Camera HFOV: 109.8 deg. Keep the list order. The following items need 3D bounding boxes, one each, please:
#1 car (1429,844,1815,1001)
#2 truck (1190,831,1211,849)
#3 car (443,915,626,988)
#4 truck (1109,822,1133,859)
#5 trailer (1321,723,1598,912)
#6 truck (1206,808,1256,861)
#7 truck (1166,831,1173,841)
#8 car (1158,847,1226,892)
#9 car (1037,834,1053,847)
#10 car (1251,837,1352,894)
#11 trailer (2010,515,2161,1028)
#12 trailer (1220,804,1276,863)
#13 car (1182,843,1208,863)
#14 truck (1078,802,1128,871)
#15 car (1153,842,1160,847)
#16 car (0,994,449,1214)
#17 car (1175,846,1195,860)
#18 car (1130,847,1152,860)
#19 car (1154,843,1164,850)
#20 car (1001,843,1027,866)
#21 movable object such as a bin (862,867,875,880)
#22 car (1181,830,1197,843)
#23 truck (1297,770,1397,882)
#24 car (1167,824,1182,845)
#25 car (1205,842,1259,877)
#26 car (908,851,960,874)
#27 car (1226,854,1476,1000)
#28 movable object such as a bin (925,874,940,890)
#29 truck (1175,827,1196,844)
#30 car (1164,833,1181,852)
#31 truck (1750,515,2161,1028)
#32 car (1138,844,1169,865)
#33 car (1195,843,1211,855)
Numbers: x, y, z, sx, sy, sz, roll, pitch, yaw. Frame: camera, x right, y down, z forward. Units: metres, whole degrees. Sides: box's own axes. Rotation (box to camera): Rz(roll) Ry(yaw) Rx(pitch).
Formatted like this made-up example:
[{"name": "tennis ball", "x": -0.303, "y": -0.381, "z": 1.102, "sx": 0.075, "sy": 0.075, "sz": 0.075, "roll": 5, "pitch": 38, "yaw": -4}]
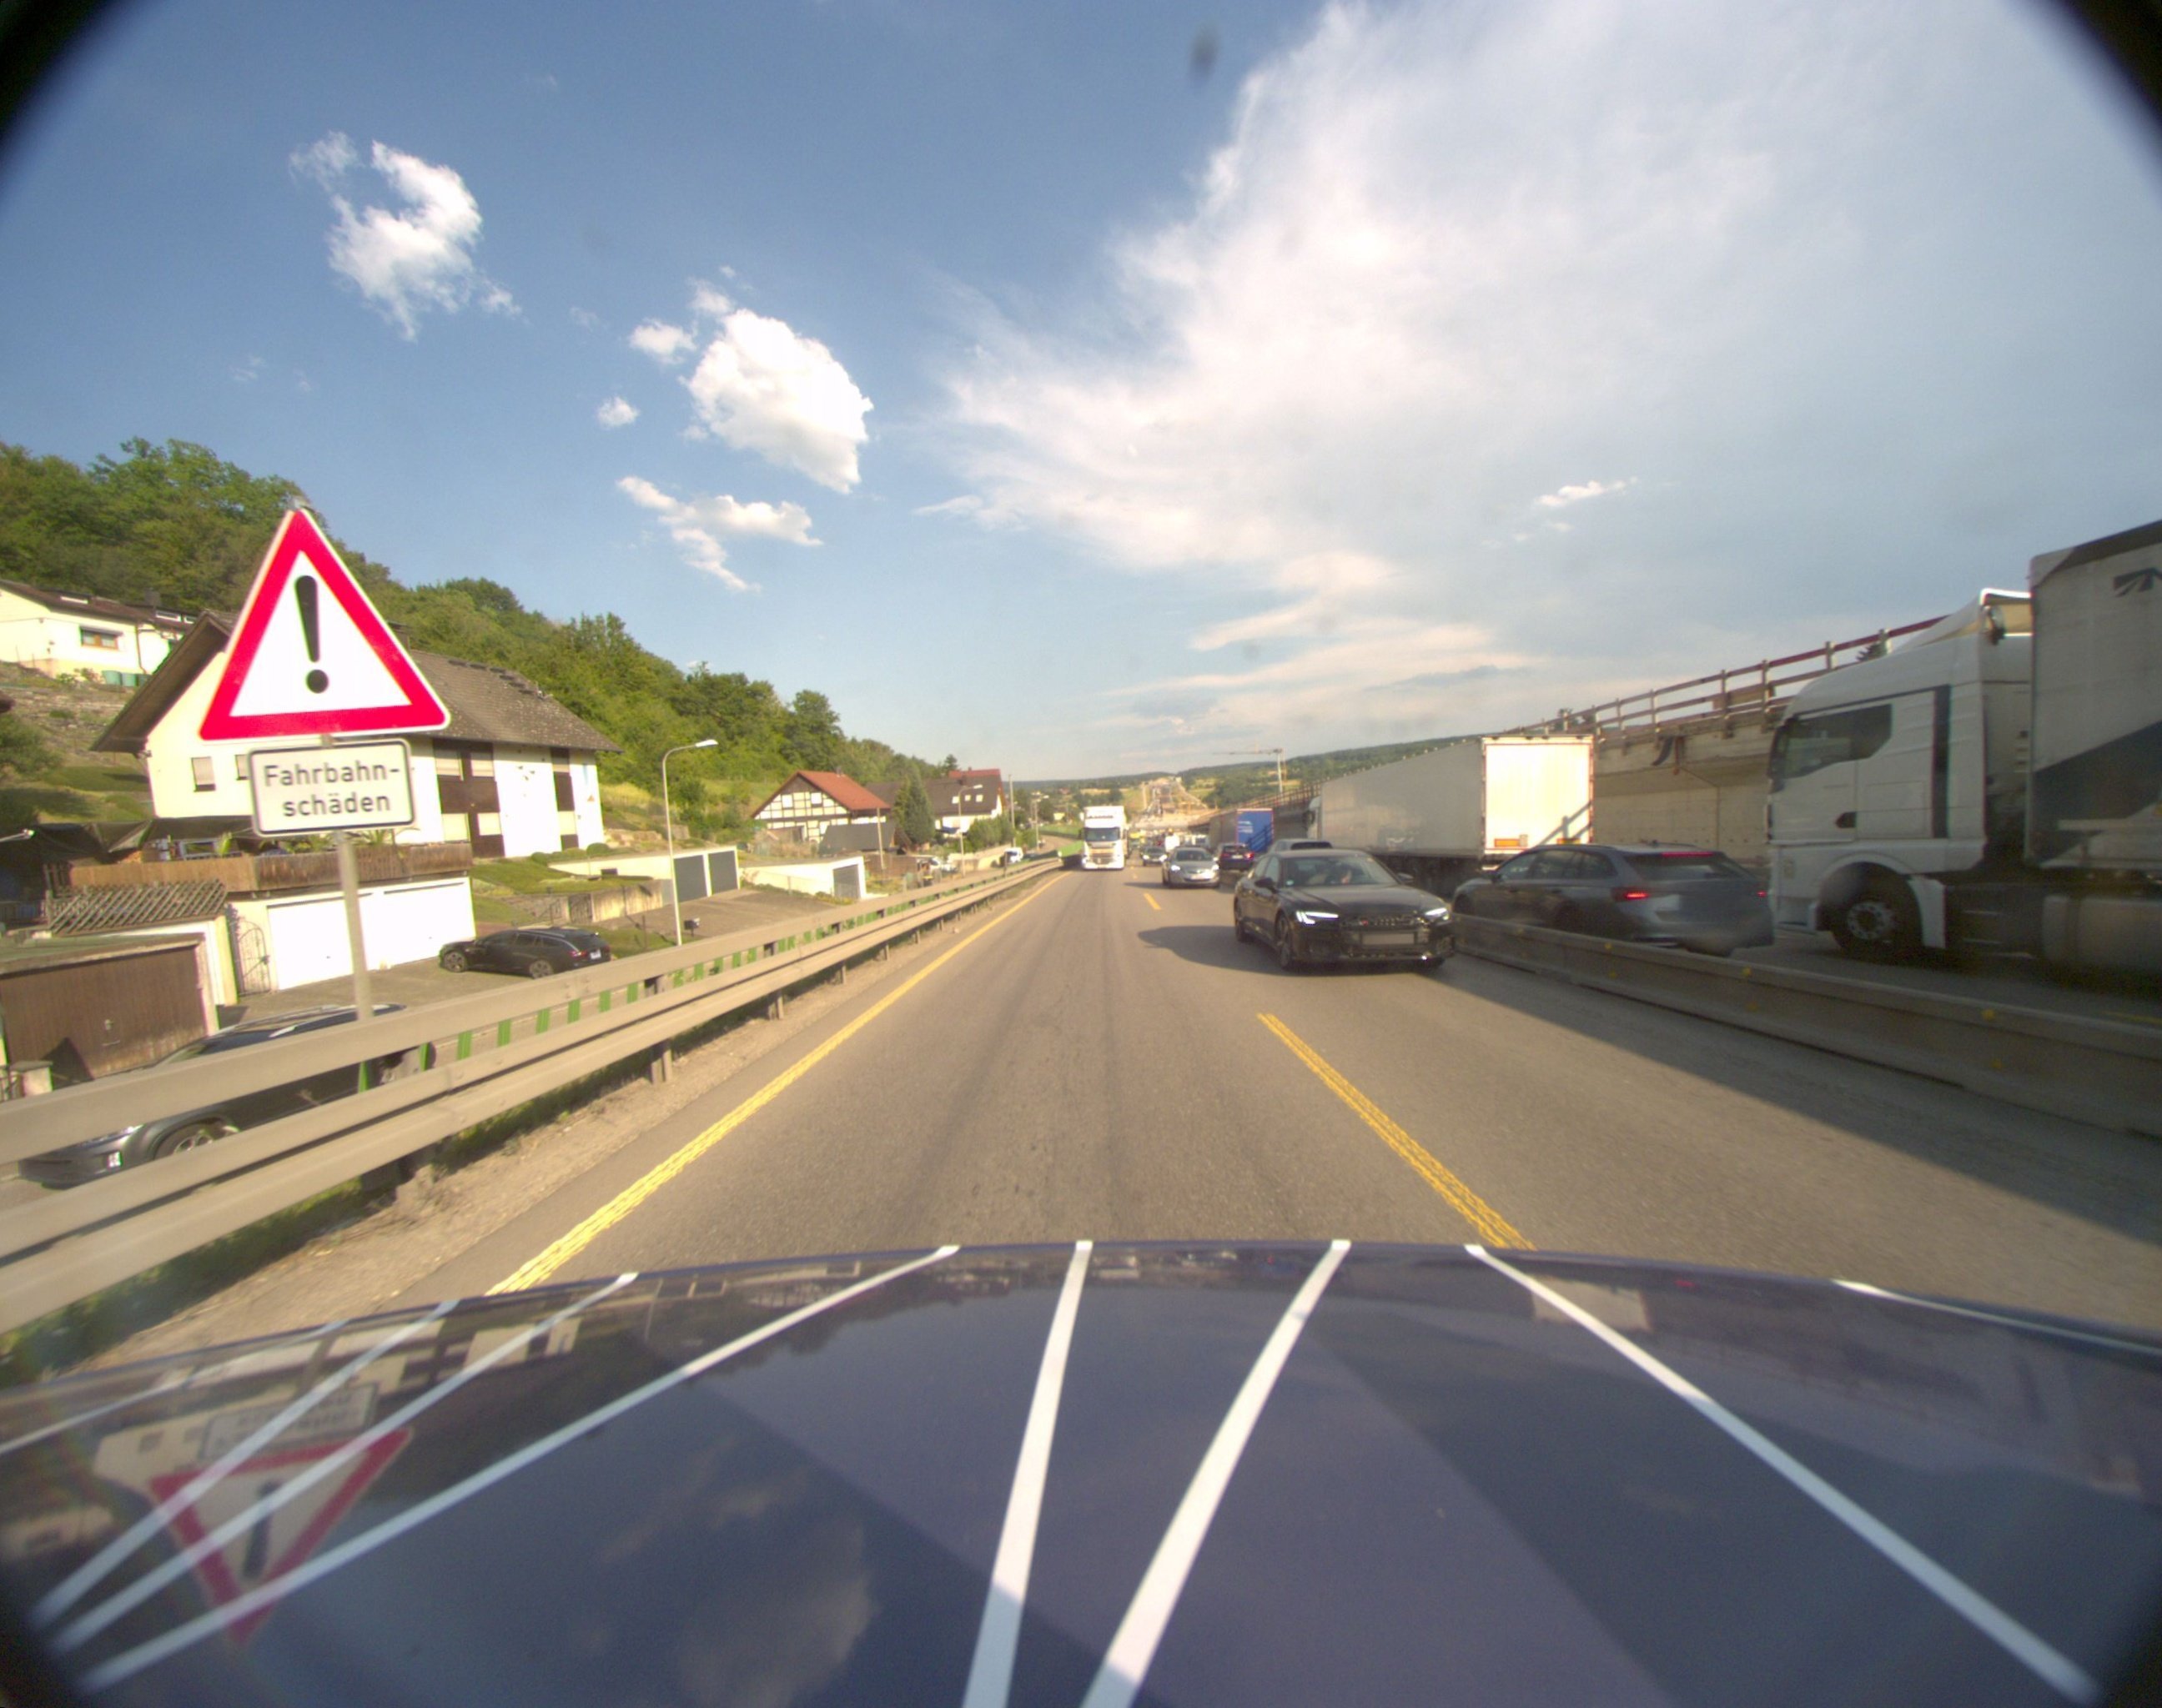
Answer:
[{"name": "car", "x": 6.676, "y": 0.681, "z": 10.224, "sx": 1.779, "sy": 1.448, "sz": 4.813, "roll": -3, "pitch": 2, "yaw": 0}, {"name": "truck", "x": 16.730, "y": -1.982, "z": 106.683, "sx": 2.279, "sy": 2.288, "sz": 6.064, "roll": -4, "pitch": 1, "yaw": 4}, {"name": "car", "x": -17.101, "y": 3.008, "z": 23.881, "sx": 4.502, "sy": 1.517, "sz": 2.000, "roll": 5, "pitch": 4, "yaw": 7}, {"name": "truck", "x": 5.198, "y": -1.718, "z": 99.111, "sx": 2.788, "sy": 4.505, "sz": 7.190, "roll": -3, "pitch": 0, "yaw": 2}, {"name": "trailer", "x": 10.845, "y": -0.974, "z": 24.306, "sx": 2.461, "sy": 4.295, "sz": 13.774, "roll": -1, "pitch": 1, "yaw": 2}, {"name": "truck", "x": 12.944, "y": -1.714, "z": 66.603, "sx": 2.822, "sy": 4.234, "sz": 10.581, "roll": -1, "pitch": 1, "yaw": 3}, {"name": "truck", "x": 29.449, "y": -6.033, "z": 252.114, "sx": 1.998, "sy": 3.154, "sz": 5.764, "roll": -1, "pitch": 1, "yaw": 4}, {"name": "car", "x": 3.973, "y": 0.495, "z": 27.733, "sx": 1.810, "sy": 1.478, "sz": 4.117, "roll": 0, "pitch": 1, "yaw": -1}, {"name": "car", "x": -5.831, "y": -2.177, "z": 123.234, "sx": 1.998, "sy": 2.002, "sz": 4.000, "roll": -1, "pitch": 1, "yaw": 4}, {"name": "car", "x": 7.356, "y": 0.298, "z": 25.902, "sx": 2.013, "sy": 1.645, "sz": 4.973, "roll": -3, "pitch": 1, "yaw": 1}, {"name": "trailer", "x": 10.126, "y": -0.565, "z": 0.254, "sx": 2.783, "sy": 4.179, "sz": 13.830, "roll": -1, "pitch": 1, "yaw": 1}, {"name": "trailer", "x": 12.399, "y": -1.531, "z": 57.196, "sx": 2.822, "sy": 4.082, "sz": 8.287, "roll": -1, "pitch": 1, "yaw": 3}, {"name": "car", "x": 9.536, "y": -0.139, "z": 63.796, "sx": 1.703, "sy": 1.567, "sz": 4.370, "roll": -1, "pitch": 1, "yaw": 3}, {"name": "truck", "x": 1.537, "y": -1.160, "z": 51.954, "sx": 2.892, "sy": 4.059, "sz": 13.892, "roll": -1, "pitch": 1, "yaw": 2}, {"name": "car", "x": 20.161, "y": -2.486, "z": 204.174, "sx": 1.712, "sy": 1.312, "sz": 3.665, "roll": -4, "pitch": 1, "yaw": 4}, {"name": "car", "x": -13.099, "y": 3.654, "z": 12.108, "sx": 1.866, "sy": 1.775, "sz": 4.498, "roll": -1, "pitch": 3, "yaw": 7}, {"name": "car", "x": 11.346, "y": -0.104, "z": 83.113, "sx": 1.746, "sy": 1.432, "sz": 4.592, "roll": -3, "pitch": 1, "yaw": 4}, {"name": "car", "x": 7.269, "y": -0.060, "z": 92.788, "sx": 1.999, "sy": 1.565, "sz": 3.997, "roll": -1, "pitch": 1, "yaw": -5}, {"name": "car", "x": 15.038, "y": -1.460, "z": 146.492, "sx": 1.712, "sy": 1.312, "sz": 3.665, "roll": -4, "pitch": 1, "yaw": 4}, {"name": "car", "x": -6.566, "y": 0.001, "z": 74.687, "sx": 1.824, "sy": 1.931, "sz": 4.283, "roll": -3, "pitch": 3, "yaw": 3}, {"name": "movable object such as a bin", "x": -14.921, "y": 1.373, "z": 53.479, "sx": 0.688, "sy": 0.896, "sz": 0.680, "roll": -1, "pitch": 2, "yaw": 2}, {"name": "car", "x": 18.227, "y": -2.936, "z": 128.243, "sx": 2.214, "sy": 2.011, "sz": 3.973, "roll": -4, "pitch": 1, "yaw": 4}, {"name": "truck", "x": 11.138, "y": -1.137, "z": 32.309, "sx": 2.461, "sy": 4.291, "sz": 5.473, "roll": -1, "pitch": 1, "yaw": 2}, {"name": "car", "x": 24.967, "y": -5.130, "z": 203.471, "sx": 3.326, "sy": 5.356, "sz": 14.301, "roll": -1, "pitch": 1, "yaw": 5}, {"name": "car", "x": 7.812, "y": 0.238, "z": 39.803, "sx": 1.885, "sy": 1.598, "sz": 4.730, "roll": -3, "pitch": 1, "yaw": 1}, {"name": "car", "x": -12.424, "y": 0.704, "z": 64.506, "sx": 3.995, "sy": 1.829, "sz": 1.750, "roll": 1, "pitch": 3, "yaw": 4}, {"name": "car", "x": 3.340, "y": 0.771, "z": 10.645, "sx": 1.945, "sy": 1.472, "sz": 5.222, "roll": 0, "pitch": 1, "yaw": 4}, {"name": "movable object such as a bin", "x": -10.000, "y": 1.863, "z": 51.162, "sx": 0.723, "sy": 0.995, "sz": 0.677, "roll": -3, "pitch": 2, "yaw": 4}, {"name": "truck", "x": 19.520, "y": -3.404, "z": 142.642, "sx": 3.242, "sy": 3.128, "sz": 6.489, "roll": -1, "pitch": 1, "yaw": 3}, {"name": "car", "x": 12.743, "y": -1.614, "z": 106.382, "sx": 2.000, "sy": 2.601, "sz": 5.614, "roll": 0, "pitch": 1, "yaw": 4}, {"name": "truck", "x": 10.219, "y": -0.702, "z": 6.980, "sx": 2.771, "sy": 4.179, "sz": 6.113, "roll": -1, "pitch": 1, "yaw": 1}, {"name": "car", "x": 5.335, "y": 0.033, "z": 56.286, "sx": 1.823, "sy": 1.433, "sz": 3.999, "roll": -2, "pitch": 0, "yaw": -1}, {"name": "car", "x": 15.287, "y": -0.639, "z": 95.375, "sx": 1.711, "sy": 1.379, "sz": 4.001, "roll": -4, "pitch": 1, "yaw": 6}]
